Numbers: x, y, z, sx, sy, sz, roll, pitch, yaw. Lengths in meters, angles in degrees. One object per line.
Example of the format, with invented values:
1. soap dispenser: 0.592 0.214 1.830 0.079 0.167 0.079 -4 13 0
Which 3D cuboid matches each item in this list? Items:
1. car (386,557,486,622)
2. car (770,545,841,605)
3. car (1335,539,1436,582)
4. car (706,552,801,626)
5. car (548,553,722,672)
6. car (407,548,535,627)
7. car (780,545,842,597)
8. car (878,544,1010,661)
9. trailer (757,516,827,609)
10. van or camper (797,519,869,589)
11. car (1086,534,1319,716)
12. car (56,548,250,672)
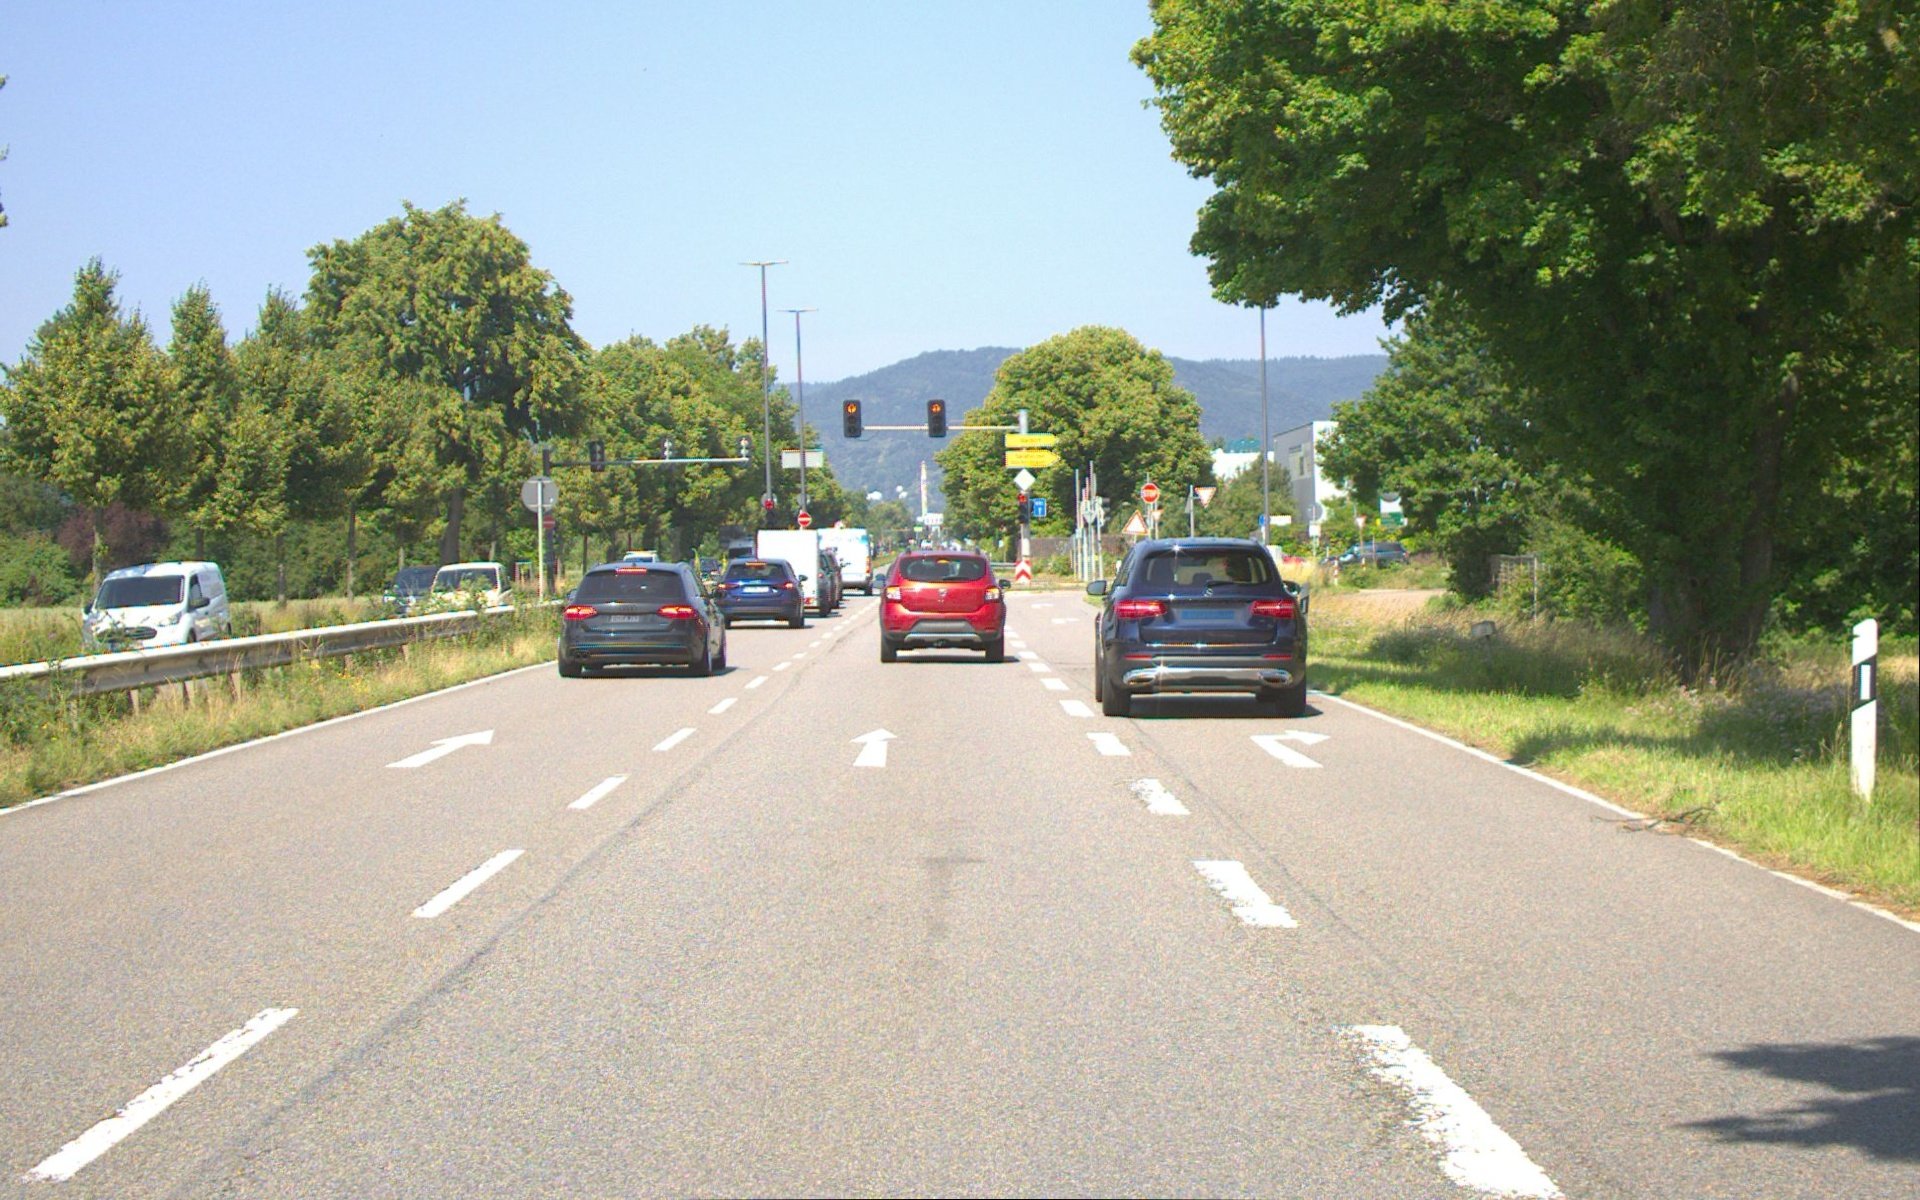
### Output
1. car: -13.865 -0.303 91.148 1.993 1.657 4.481 -1 1 -1
2. car: -4.183 -0.690 93.470 1.723 1.570 3.892 -1 1 0
3. car: 16.971 -1.570 136.883 3.820 1.575 2.073 -1 1 11
4. car: -4.209 -0.242 70.483 1.717 1.460 4.030 0 1 0
5. car: -3.994 0.118 42.875 1.740 1.376 4.455 0 1 0
6. car: -10.059 -0.286 71.018 1.993 1.551 4.481 -1 1 0
7. car: -4.602 -0.908 106.723 1.724 1.594 3.955 0 1 0
8. car: -0.194 0.001 48.190 1.749 1.570 3.676 0 1 1
9. trailer: -4.009 -0.910 82.501 1.500 2.166 4.174 0 1 -1
10. van or camper: -4.338 -1.578 118.121 2.179 2.295 4.827 -2 1 1
11. car: 2.228 0.185 32.658 1.993 1.611 4.339 0 1 1
12. car: -13.613 0.120 58.277 1.993 1.954 4.927 -2 1 1
